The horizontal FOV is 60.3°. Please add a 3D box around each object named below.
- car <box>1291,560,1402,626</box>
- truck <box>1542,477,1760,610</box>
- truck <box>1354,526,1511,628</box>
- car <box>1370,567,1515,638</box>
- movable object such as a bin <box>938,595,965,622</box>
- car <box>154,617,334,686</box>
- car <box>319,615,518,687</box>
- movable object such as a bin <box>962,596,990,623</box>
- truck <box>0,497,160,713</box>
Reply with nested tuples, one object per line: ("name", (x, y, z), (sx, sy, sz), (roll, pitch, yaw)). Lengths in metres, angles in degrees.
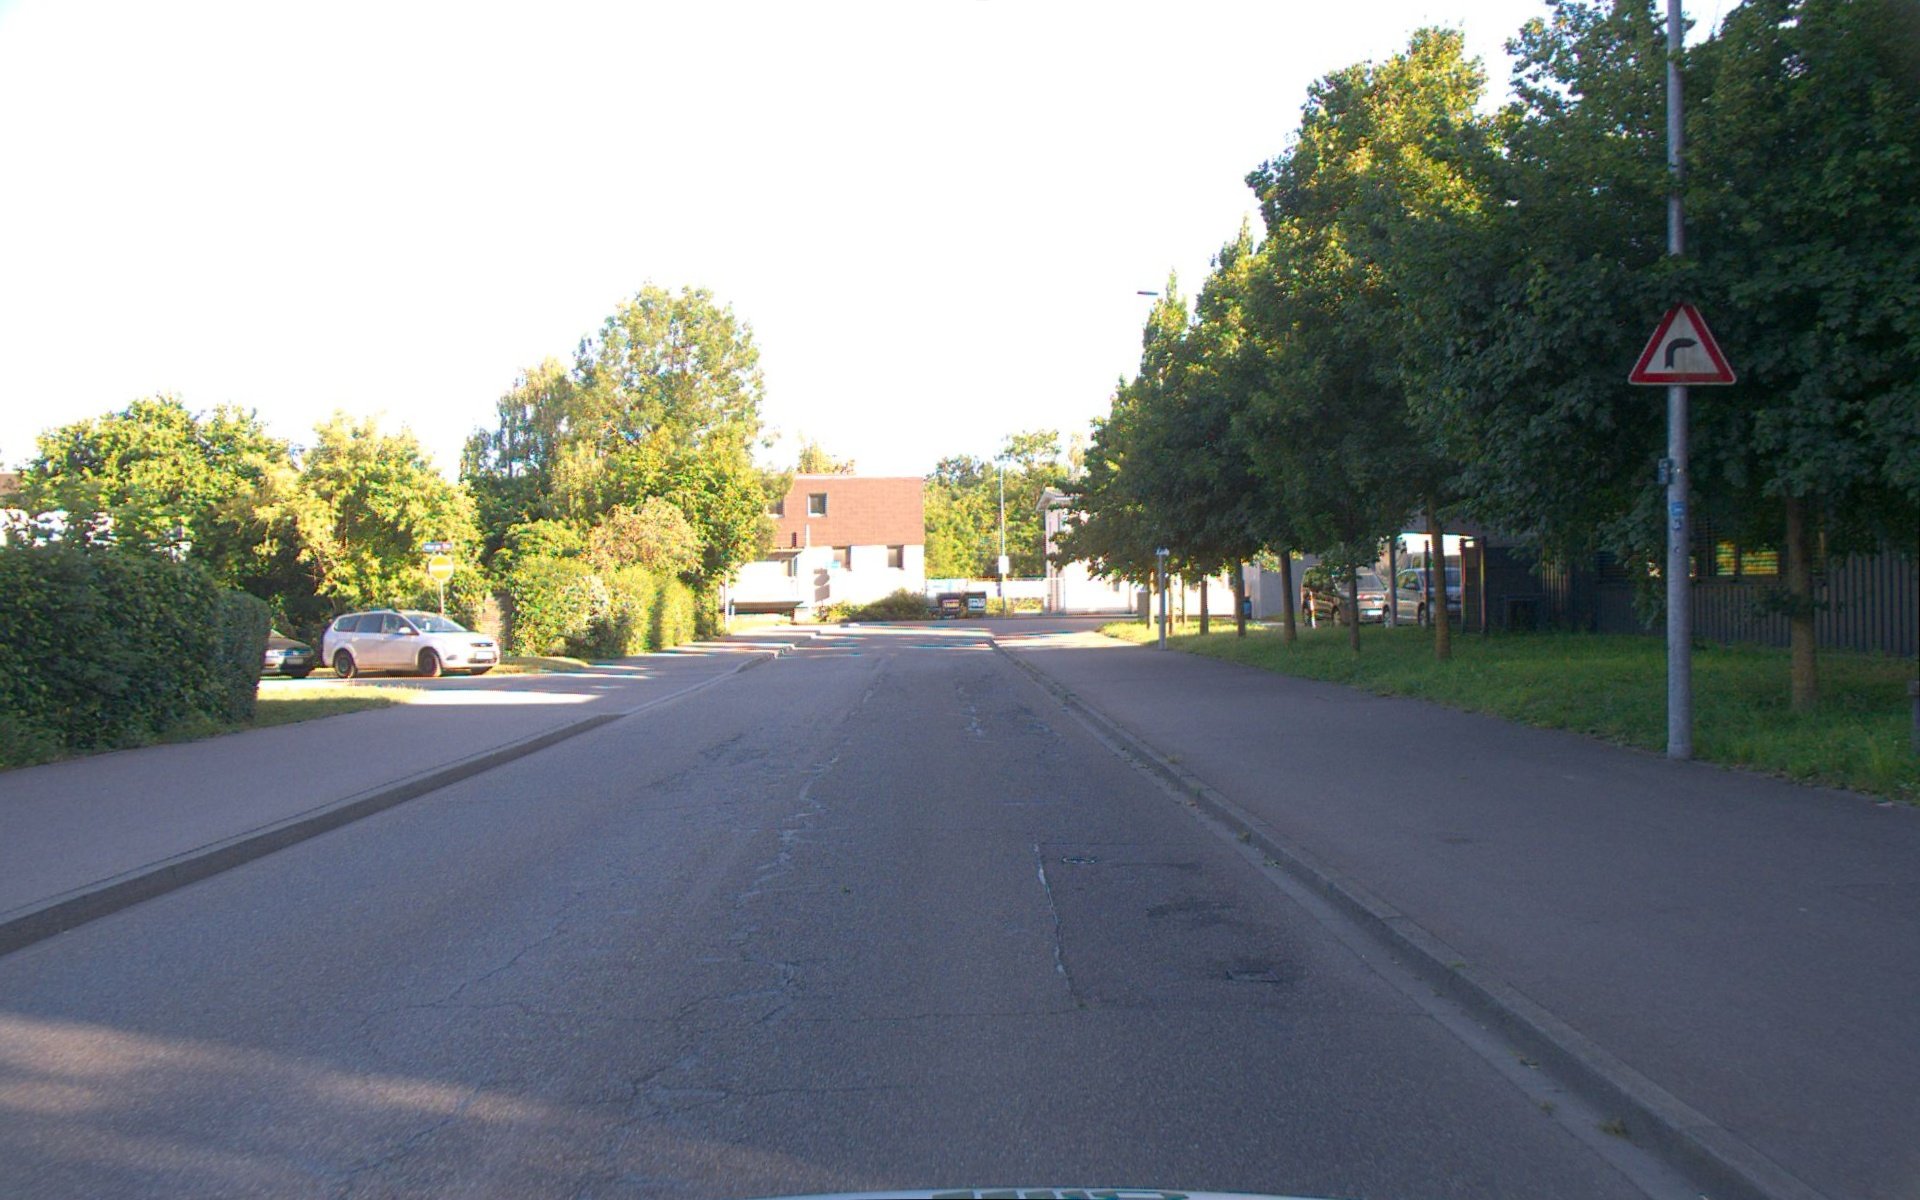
("car", (11.431, -0.176, 49.208), (1.800, 1.846, 4.660), (0, -1, -6))
("truck", (15.612, -1.162, 37.878), (2.235, 2.724, 6.399), (0, -1, -1))
("truck", (14.319, -0.661, 50.620), (2.313, 2.887, 6.742), (0, 0, -6))
("car", (10.711, 0.088, 37.023), (1.799, 1.492, 4.275), (0, -1, -3))
("movable object such as a bin", (-0.474, 0.487, 89.352), (1.339, 1.443, 1.063), (0, -1, -8))
("car", (-17.099, 1.227, 39.465), (4.109, 1.461, 1.642), (-3, -2, 26))
("car", (-12.241, 1.118, 37.347), (4.127, 1.516, 1.875), (0, -1, 26))
("movable object such as a bin", (0.859, 0.500, 89.722), (1.339, 1.443, 1.063), (0, -1, -8))
("truck", (-20.454, 0.225, 33.670), (9.126, 3.951, 2.707), (-2, -2, 28))
